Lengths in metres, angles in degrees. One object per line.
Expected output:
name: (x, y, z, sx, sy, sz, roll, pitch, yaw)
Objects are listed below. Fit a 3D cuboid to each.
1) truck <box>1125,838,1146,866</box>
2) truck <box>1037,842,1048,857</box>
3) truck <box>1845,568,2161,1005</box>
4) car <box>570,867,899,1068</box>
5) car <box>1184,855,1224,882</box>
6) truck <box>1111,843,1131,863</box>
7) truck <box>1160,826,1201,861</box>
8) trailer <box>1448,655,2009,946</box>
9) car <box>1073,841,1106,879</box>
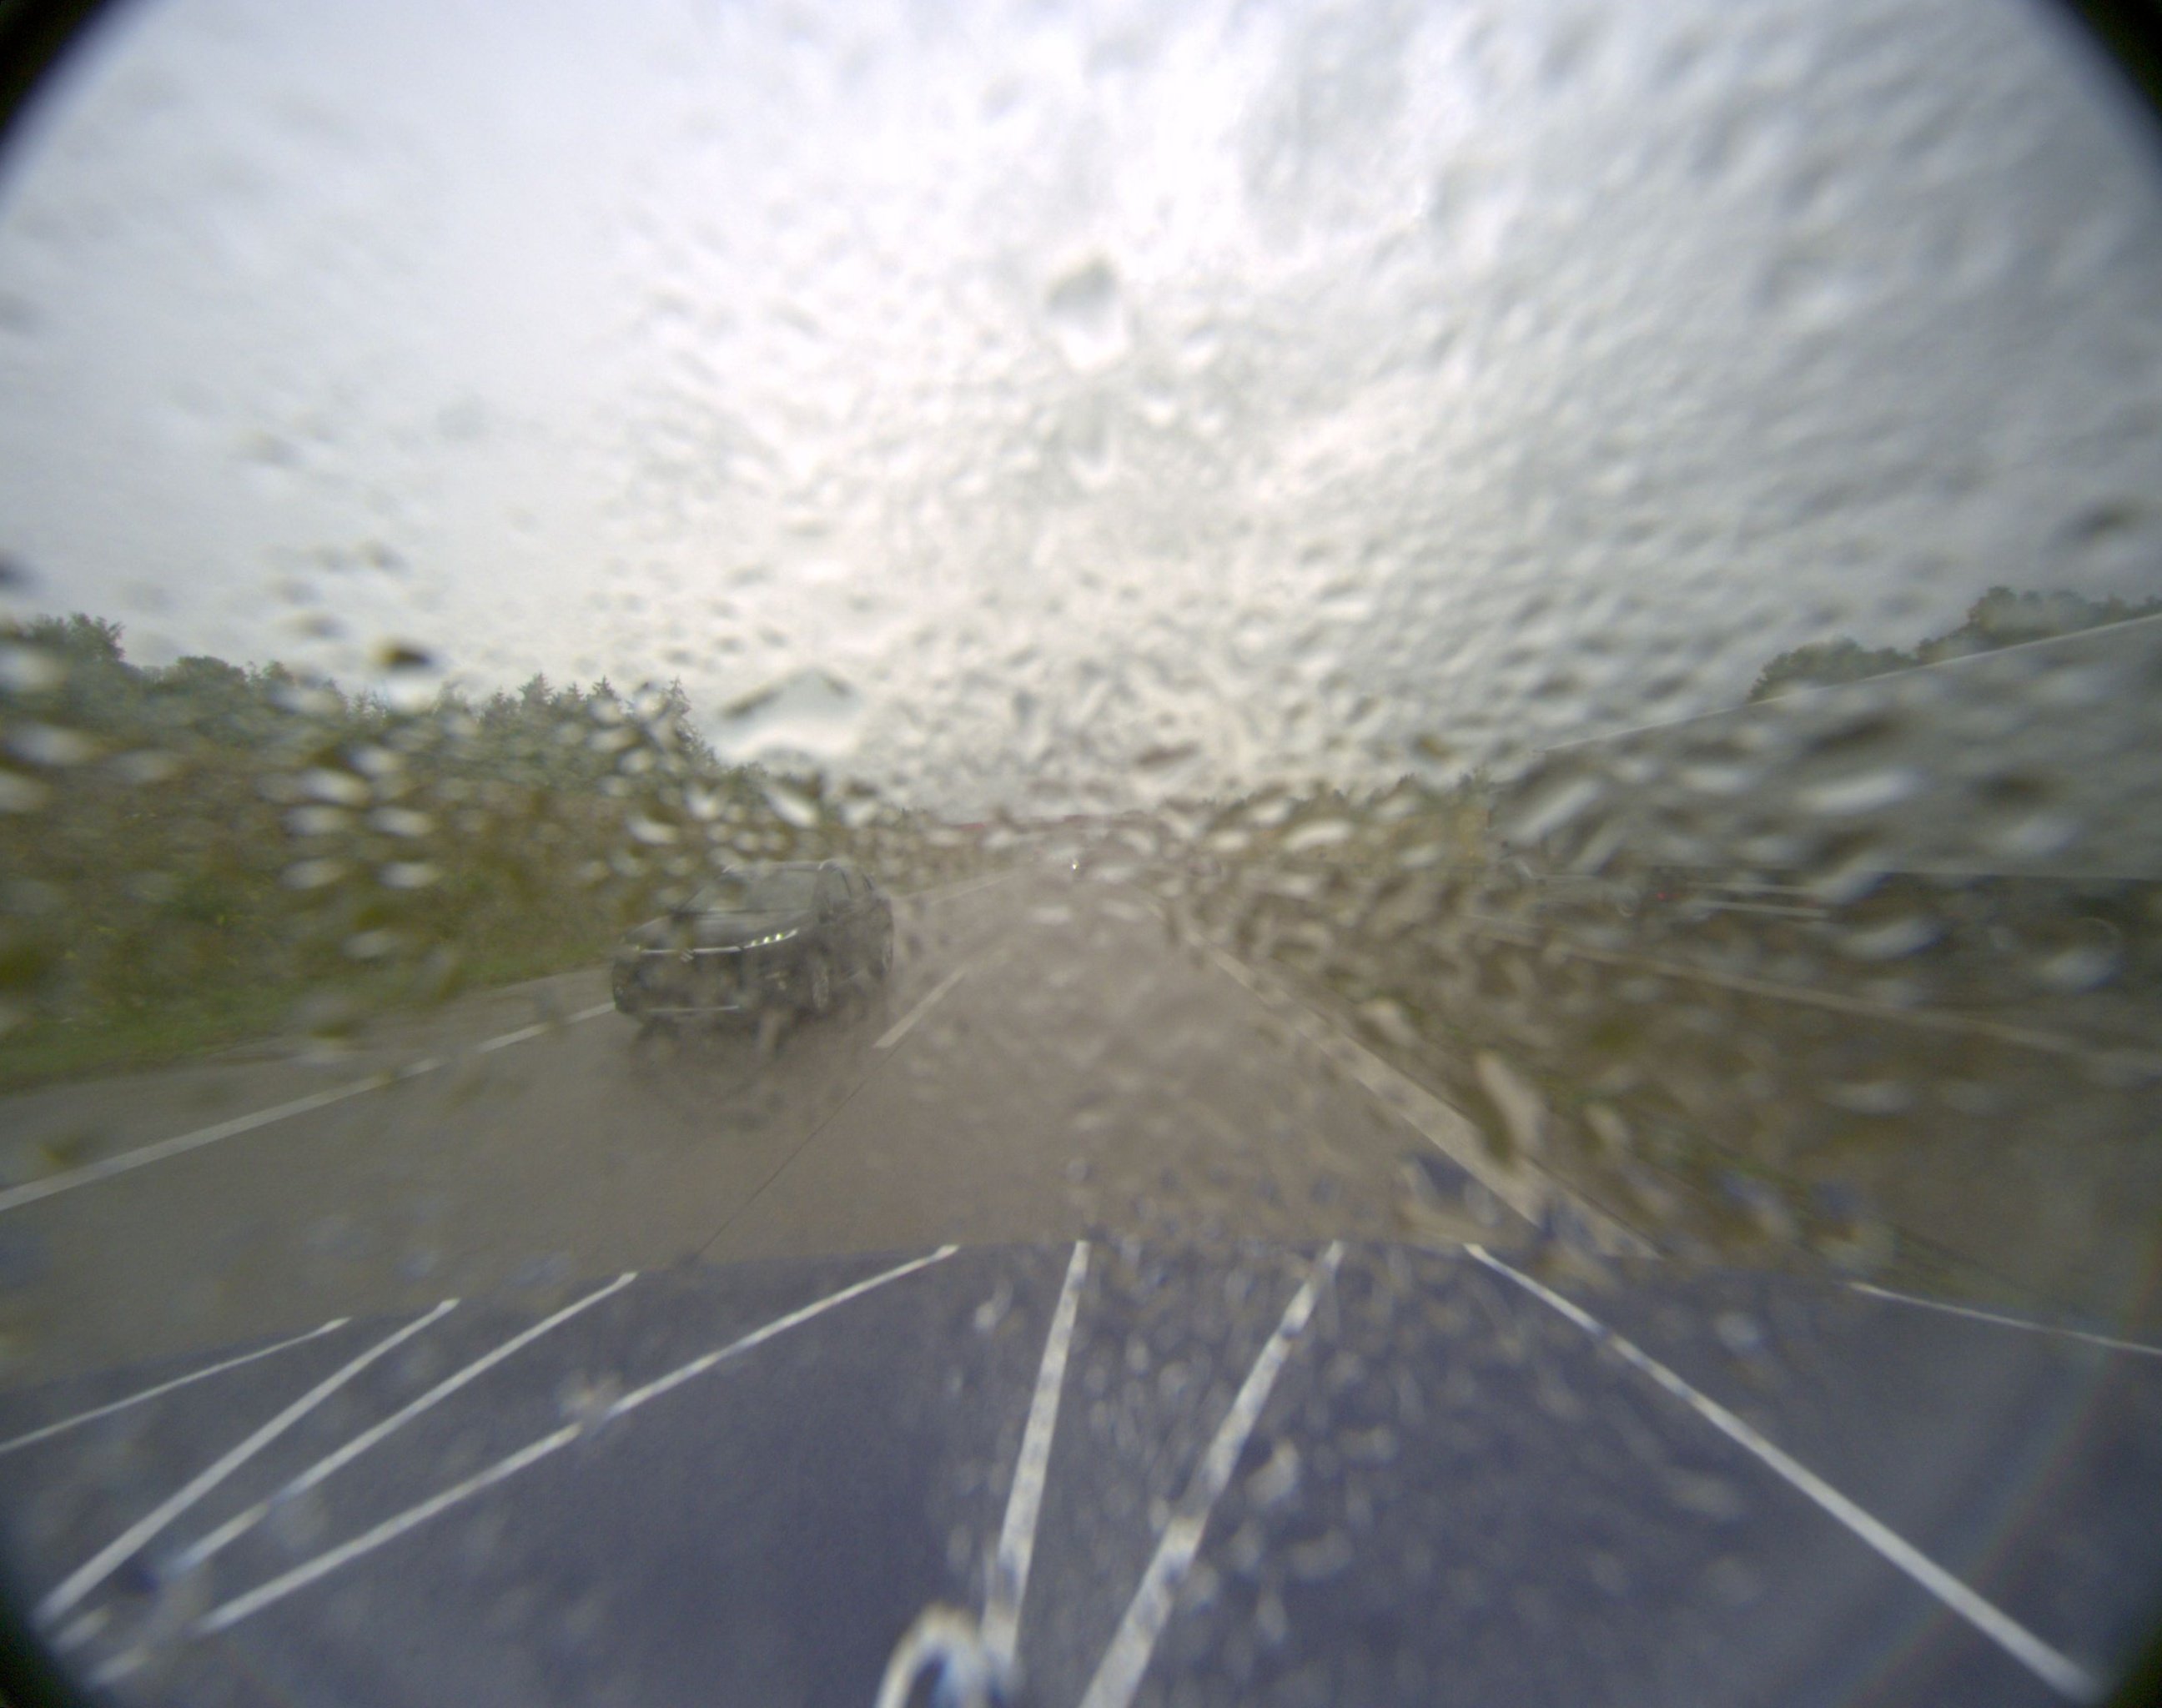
truck: (9.121, -0.408, 127.273, 2.828, 4.494, 6.624, -2, 0, -1)
truck: (-11.668, -1.276, 227.825, 2.768, 4.062, 5.434, 1, -2, -9)
truck: (10.982, -0.623, 6.865, 2.893, 3.847, 5.194, -1, 0, 0)
car: (-3.350, 0.986, 8.215, 1.899, 1.567, 3.631, -2, 0, -1)
car: (6.997, 0.776, 43.709, 1.665, 1.477, 4.000, 0, 0, 0)
truck: (5.788, -0.111, 110.595, 2.338, 2.766, 6.160, -1, 0, -1)
truck: (10.586, -1.103, 81.632, 3.176, 3.512, 8.364, -1, 0, -1)
trailer: (10.953, -0.679, 14.880, 2.911, 3.818, 9.359, -2, 0, 0)
car: (0.470, 0.417, 44.937, 1.795, 2.112, 4.525, 0, -2, 0)
